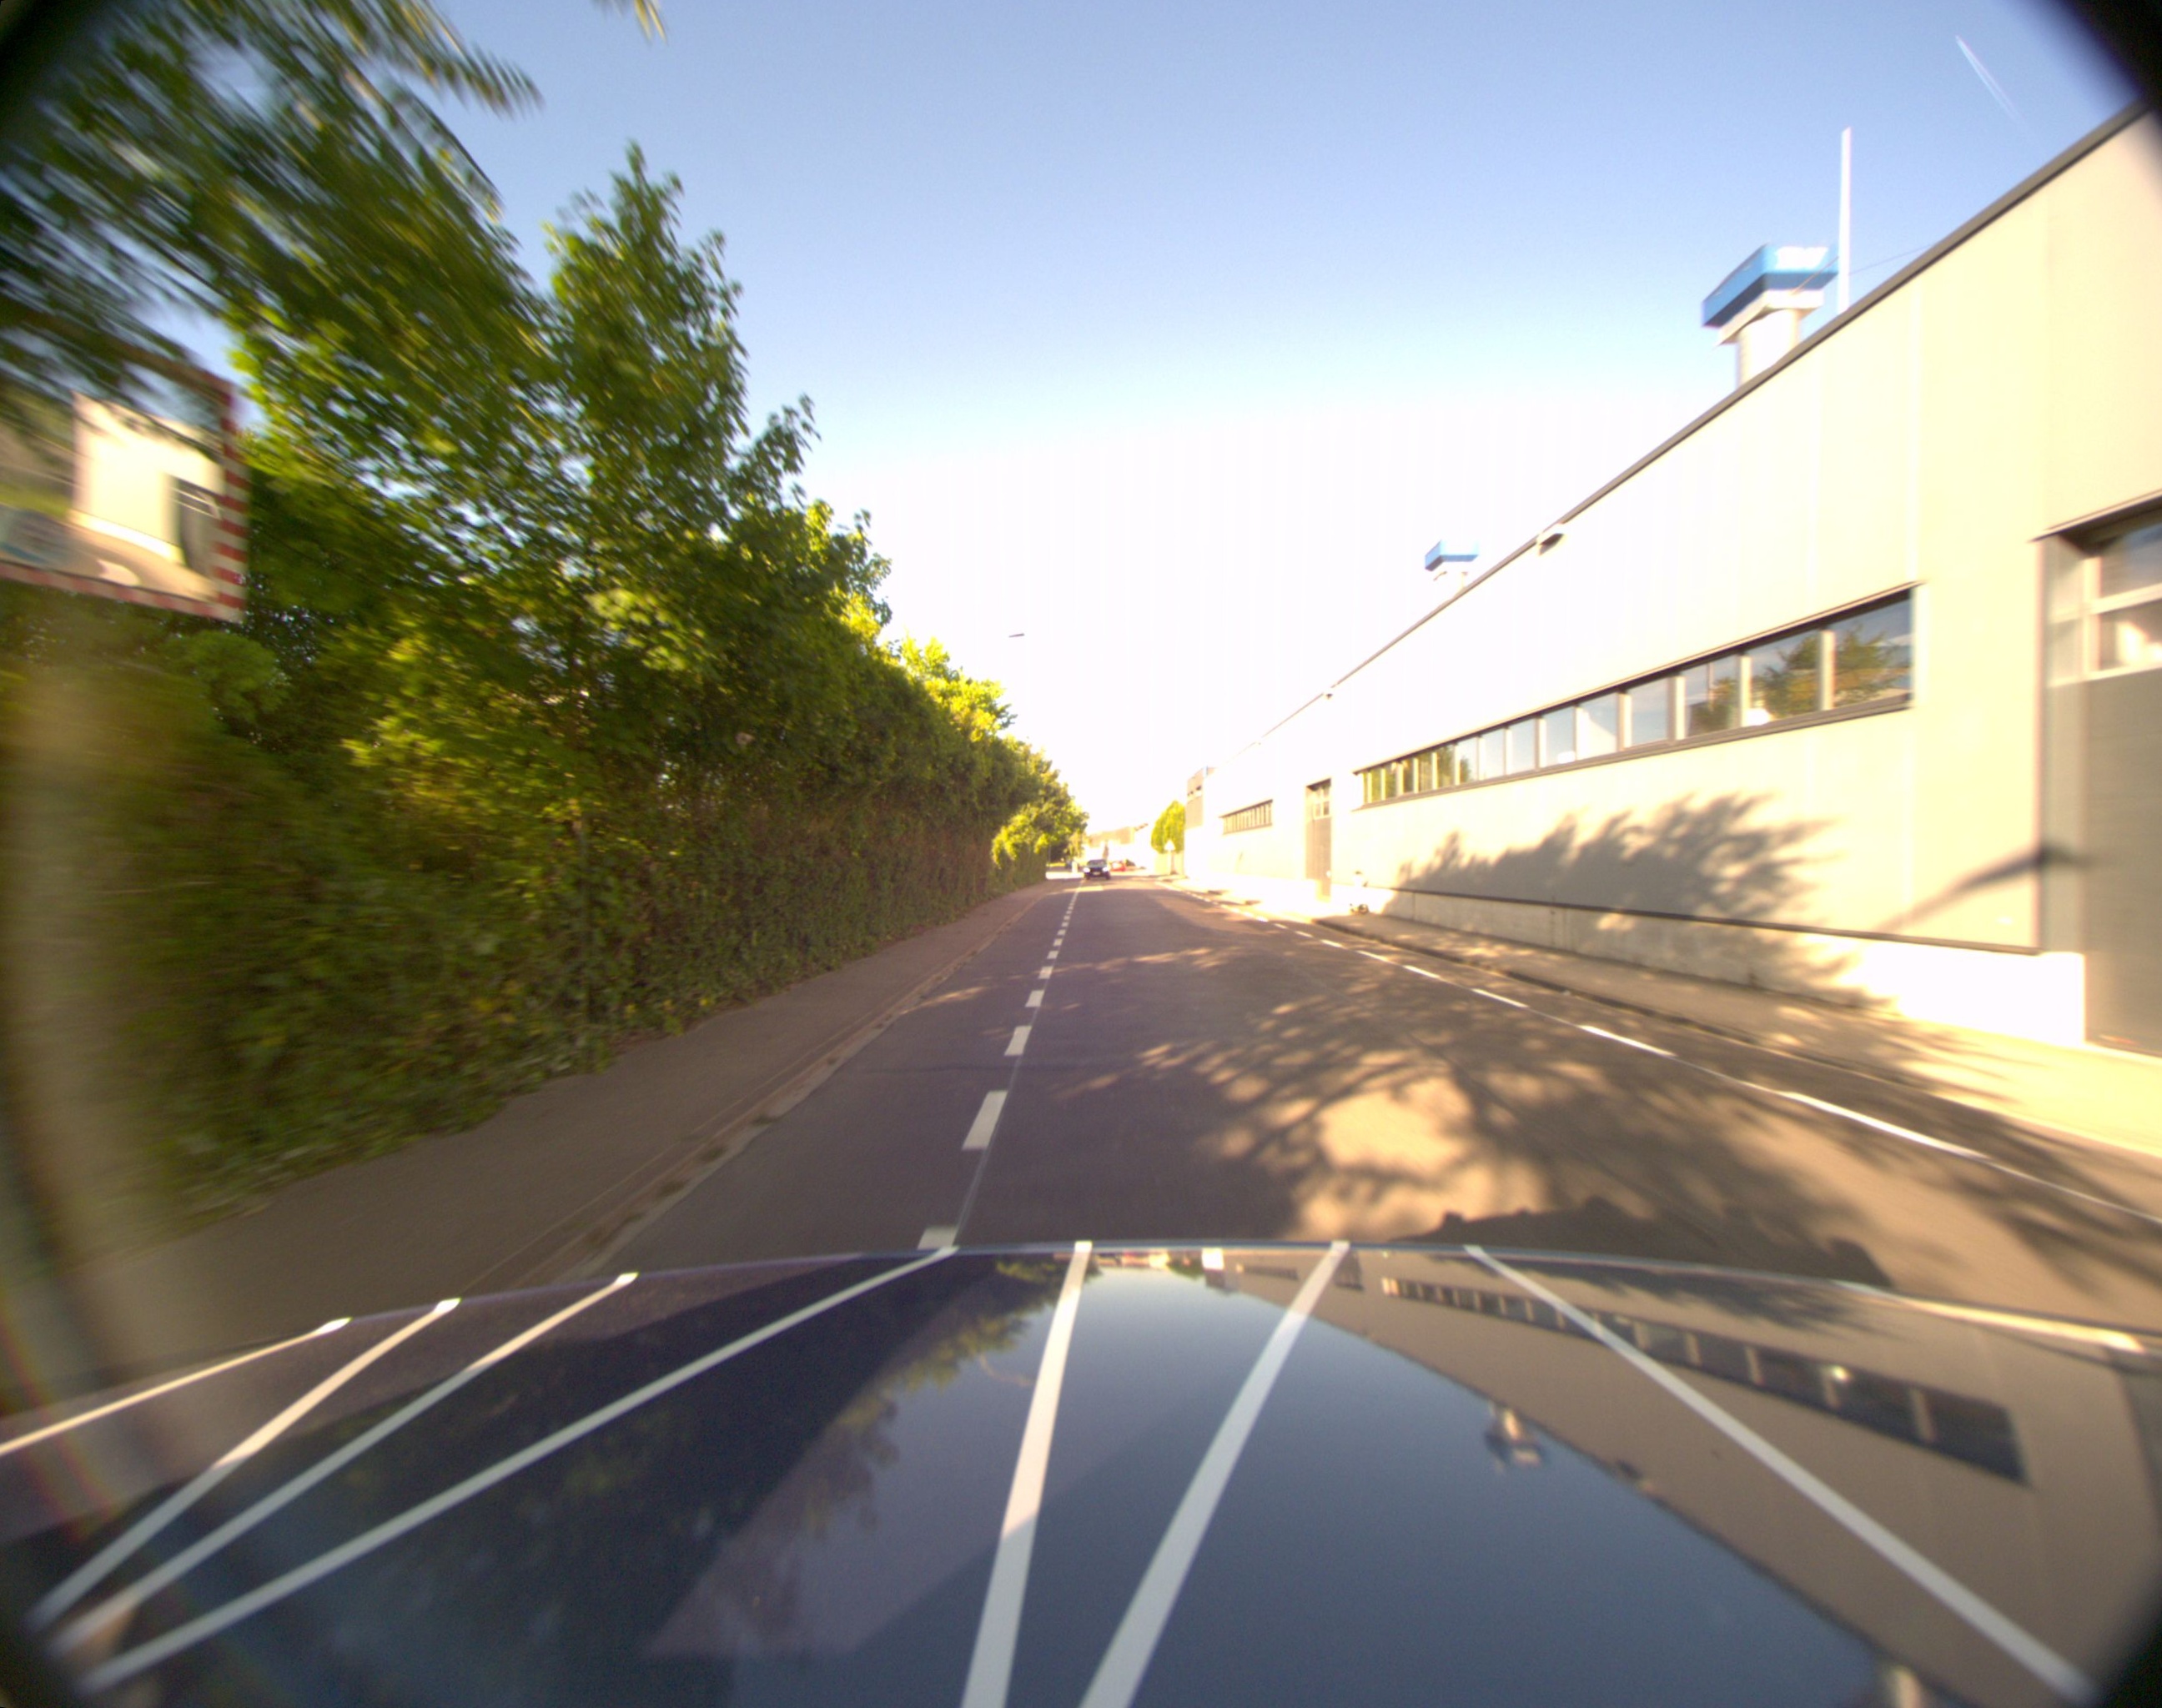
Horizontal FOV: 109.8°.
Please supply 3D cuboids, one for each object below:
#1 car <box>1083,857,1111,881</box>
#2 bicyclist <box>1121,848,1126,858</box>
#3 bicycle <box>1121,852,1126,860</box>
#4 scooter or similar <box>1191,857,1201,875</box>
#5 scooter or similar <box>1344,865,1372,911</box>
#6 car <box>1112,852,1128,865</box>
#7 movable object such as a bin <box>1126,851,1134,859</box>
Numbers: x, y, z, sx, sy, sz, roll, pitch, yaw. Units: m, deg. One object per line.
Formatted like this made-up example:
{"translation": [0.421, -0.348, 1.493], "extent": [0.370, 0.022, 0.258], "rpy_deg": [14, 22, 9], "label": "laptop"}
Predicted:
{"translation": [1.238, 1.125, 58.097], "extent": [2.036, 1.623, 4.613], "rpy_deg": [0, 1, 1], "label": "car"}
{"translation": [6.826, -0.135, 123.435], "extent": [0.748, 1.619, 0.833], "rpy_deg": [0, 1, -1], "label": "bicyclist"}
{"translation": [6.838, 0.279, 123.442], "extent": [0.669, 1.281, 2.172], "rpy_deg": [0, 0, -1], "label": "bicycle"}
{"translation": [8.474, 0.872, 56.010], "extent": [0.508, 1.196, 1.753], "rpy_deg": [-3, 1, 1], "label": "scooter or similar"}
{"translation": [7.824, 0.954, 21.462], "extent": [0.417, 1.260, 1.059], "rpy_deg": [0, 0, 1], "label": "scooter or similar"}
{"translation": [4.912, 0.570, 96.426], "extent": [1.724, 1.530, 4.076], "rpy_deg": [3, -1, 1], "label": "car"}
{"translation": [8.851, 0.156, 137.551], "extent": [1.203, 1.463, 1.371], "rpy_deg": [0, 1, -10], "label": "movable object such as a bin"}
